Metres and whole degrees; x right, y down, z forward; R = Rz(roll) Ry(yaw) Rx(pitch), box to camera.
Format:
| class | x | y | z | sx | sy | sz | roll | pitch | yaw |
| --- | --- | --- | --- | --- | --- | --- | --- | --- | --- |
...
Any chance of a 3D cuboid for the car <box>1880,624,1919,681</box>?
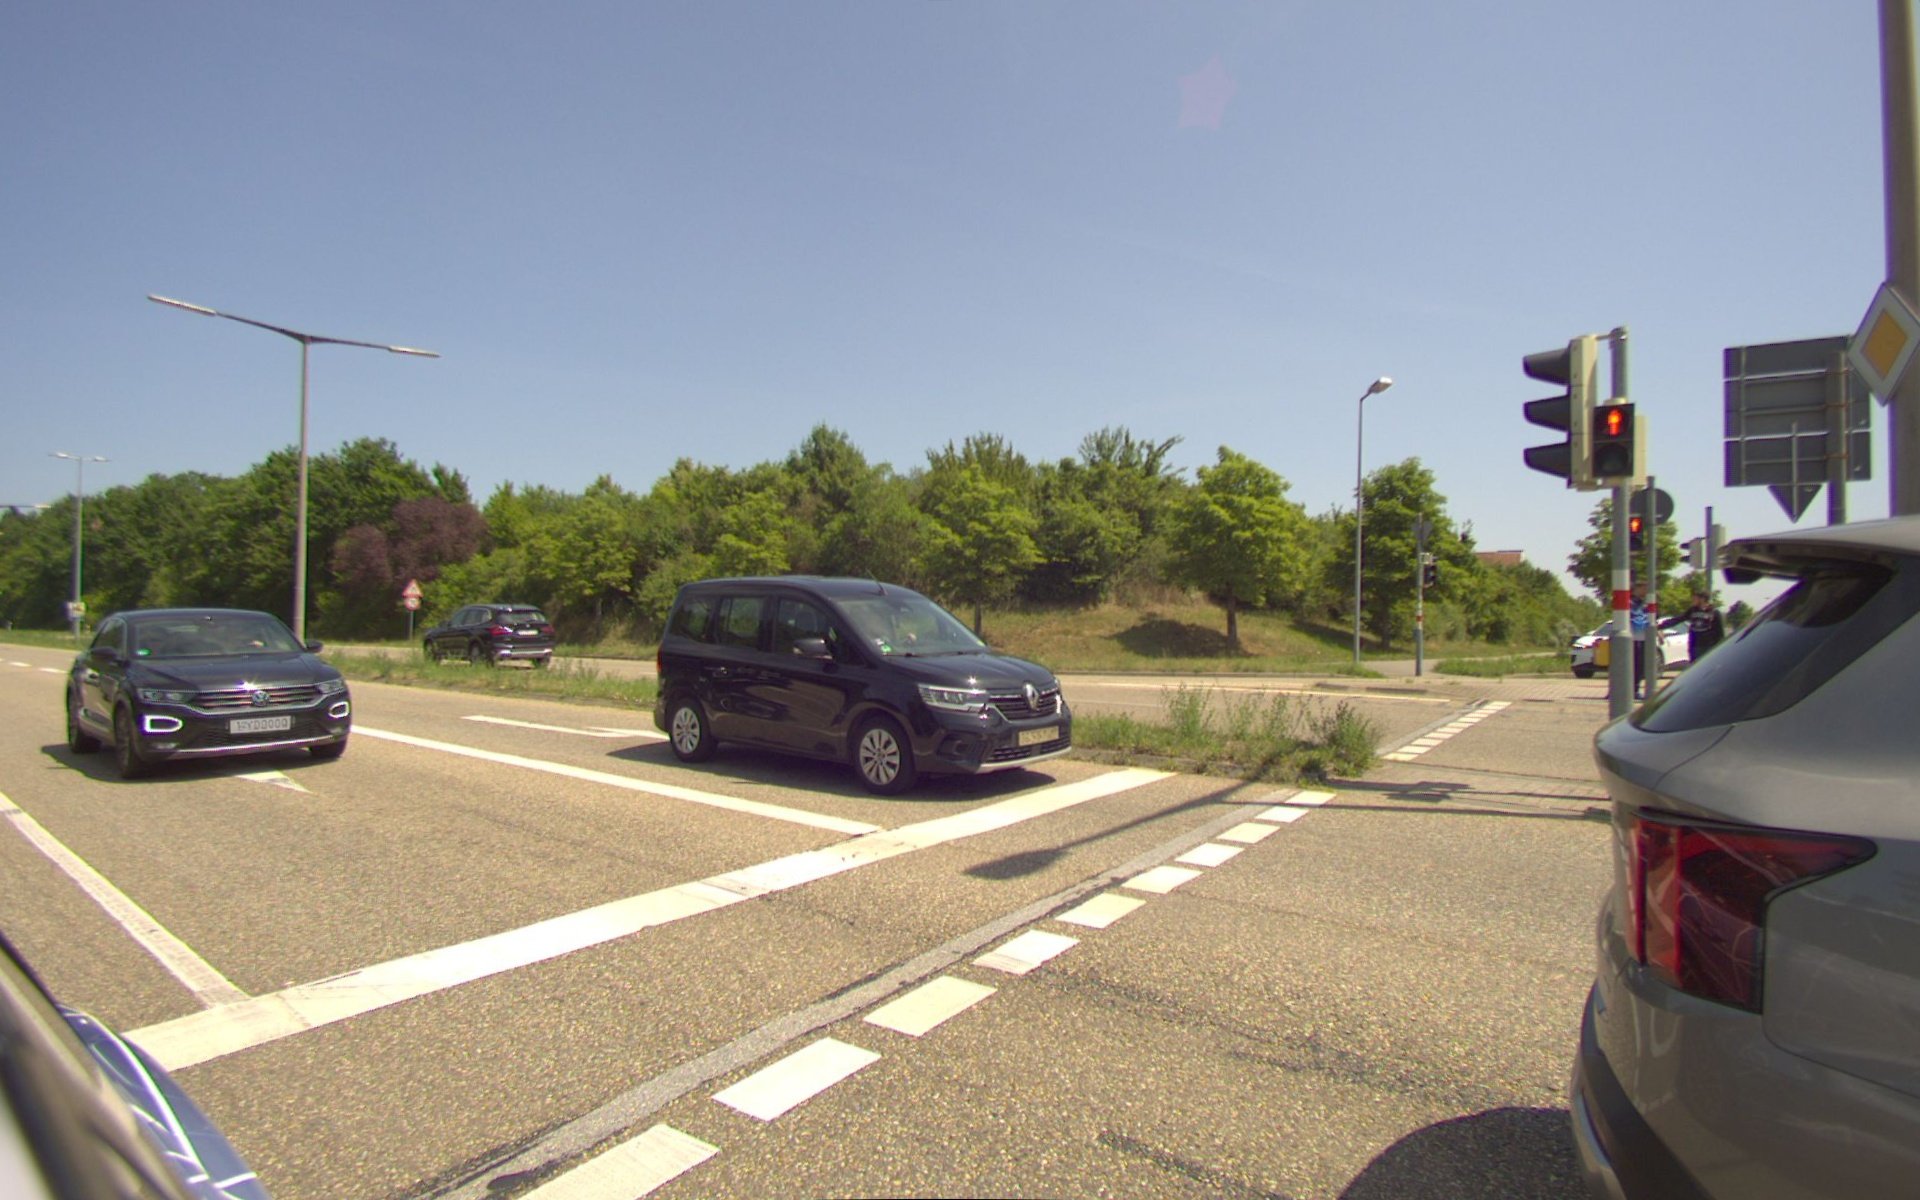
| class | x | y | z | sx | sy | sz | roll | pitch | yaw |
| --- | --- | --- | --- | --- | --- | --- | --- | --- | --- |
| car | 24.129 | 1.274 | 24.996 | 1.700 | 1.346 | 3.950 | -1 | -2 | 37 |

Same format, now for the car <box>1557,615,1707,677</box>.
| class | x | y | z | sx | sy | sz | roll | pitch | yaw |
| --- | --- | --- | --- | --- | --- | --- | --- | --- | --- |
| car | 17.699 | 1.253 | 26.597 | 4.238 | 1.513 | 1.883 | 3 | -5 | -37 |

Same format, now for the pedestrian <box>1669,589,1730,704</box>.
| class | x | y | z | sx | sy | sz | roll | pitch | yaw |
| --- | --- | --- | --- | --- | --- | --- | --- | --- | --- |
| pedestrian | 11.310 | 0.697 | 15.490 | 0.723 | 1.712 | 0.765 | -1 | -2 | 37 |

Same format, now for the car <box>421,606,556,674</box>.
| class | x | y | z | sx | sy | sz | roll | pitch | yaw |
| --- | --- | --- | --- | --- | --- | --- | --- | --- | --- |
| car | -12.496 | 1.026 | 26.708 | 4.221 | 1.676 | 1.689 | -1 | -2 | 41 |

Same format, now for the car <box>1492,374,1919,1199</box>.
| class | x | y | z | sx | sy | sz | roll | pitch | yaw |
| --- | --- | --- | --- | --- | --- | --- | --- | --- | --- |
| car | 3.159 | 0.552 | 0.731 | 4.642 | 1.675 | 1.785 | -1 | -1 | 41 |

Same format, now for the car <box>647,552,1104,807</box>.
| class | x | y | z | sx | sy | sz | roll | pitch | yaw |
| --- | --- | --- | --- | --- | --- | --- | --- | --- | --- |
| car | -0.954 | 0.613 | 9.372 | 4.319 | 1.840 | 1.713 | -1 | -2 | 41 |

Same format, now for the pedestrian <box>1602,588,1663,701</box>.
| class | x | y | z | sx | sy | sz | roll | pitch | yaw |
| --- | --- | --- | --- | --- | --- | --- | --- | --- | --- |
| pedestrian | 10.751 | 0.699 | 16.203 | 0.578 | 1.749 | 0.789 | 0 | -1 | 16 |

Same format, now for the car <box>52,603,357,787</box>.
| class | x | y | z | sx | sy | sz | roll | pitch | yaw |
| --- | --- | --- | --- | --- | --- | --- | --- | --- | --- |
| car | -7.866 | 0.816 | 10.407 | 3.968 | 1.523 | 1.716 | -1 | 0 | 41 |

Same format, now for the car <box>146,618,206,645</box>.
| class | x | y | z | sx | sy | sz | roll | pitch | yaw |
| --- | --- | --- | --- | --- | --- | --- | --- | --- | --- |
| car | -45.117 | 1.792 | 58.211 | 4.164 | 1.467 | 1.805 | -1 | -2 | 39 |
